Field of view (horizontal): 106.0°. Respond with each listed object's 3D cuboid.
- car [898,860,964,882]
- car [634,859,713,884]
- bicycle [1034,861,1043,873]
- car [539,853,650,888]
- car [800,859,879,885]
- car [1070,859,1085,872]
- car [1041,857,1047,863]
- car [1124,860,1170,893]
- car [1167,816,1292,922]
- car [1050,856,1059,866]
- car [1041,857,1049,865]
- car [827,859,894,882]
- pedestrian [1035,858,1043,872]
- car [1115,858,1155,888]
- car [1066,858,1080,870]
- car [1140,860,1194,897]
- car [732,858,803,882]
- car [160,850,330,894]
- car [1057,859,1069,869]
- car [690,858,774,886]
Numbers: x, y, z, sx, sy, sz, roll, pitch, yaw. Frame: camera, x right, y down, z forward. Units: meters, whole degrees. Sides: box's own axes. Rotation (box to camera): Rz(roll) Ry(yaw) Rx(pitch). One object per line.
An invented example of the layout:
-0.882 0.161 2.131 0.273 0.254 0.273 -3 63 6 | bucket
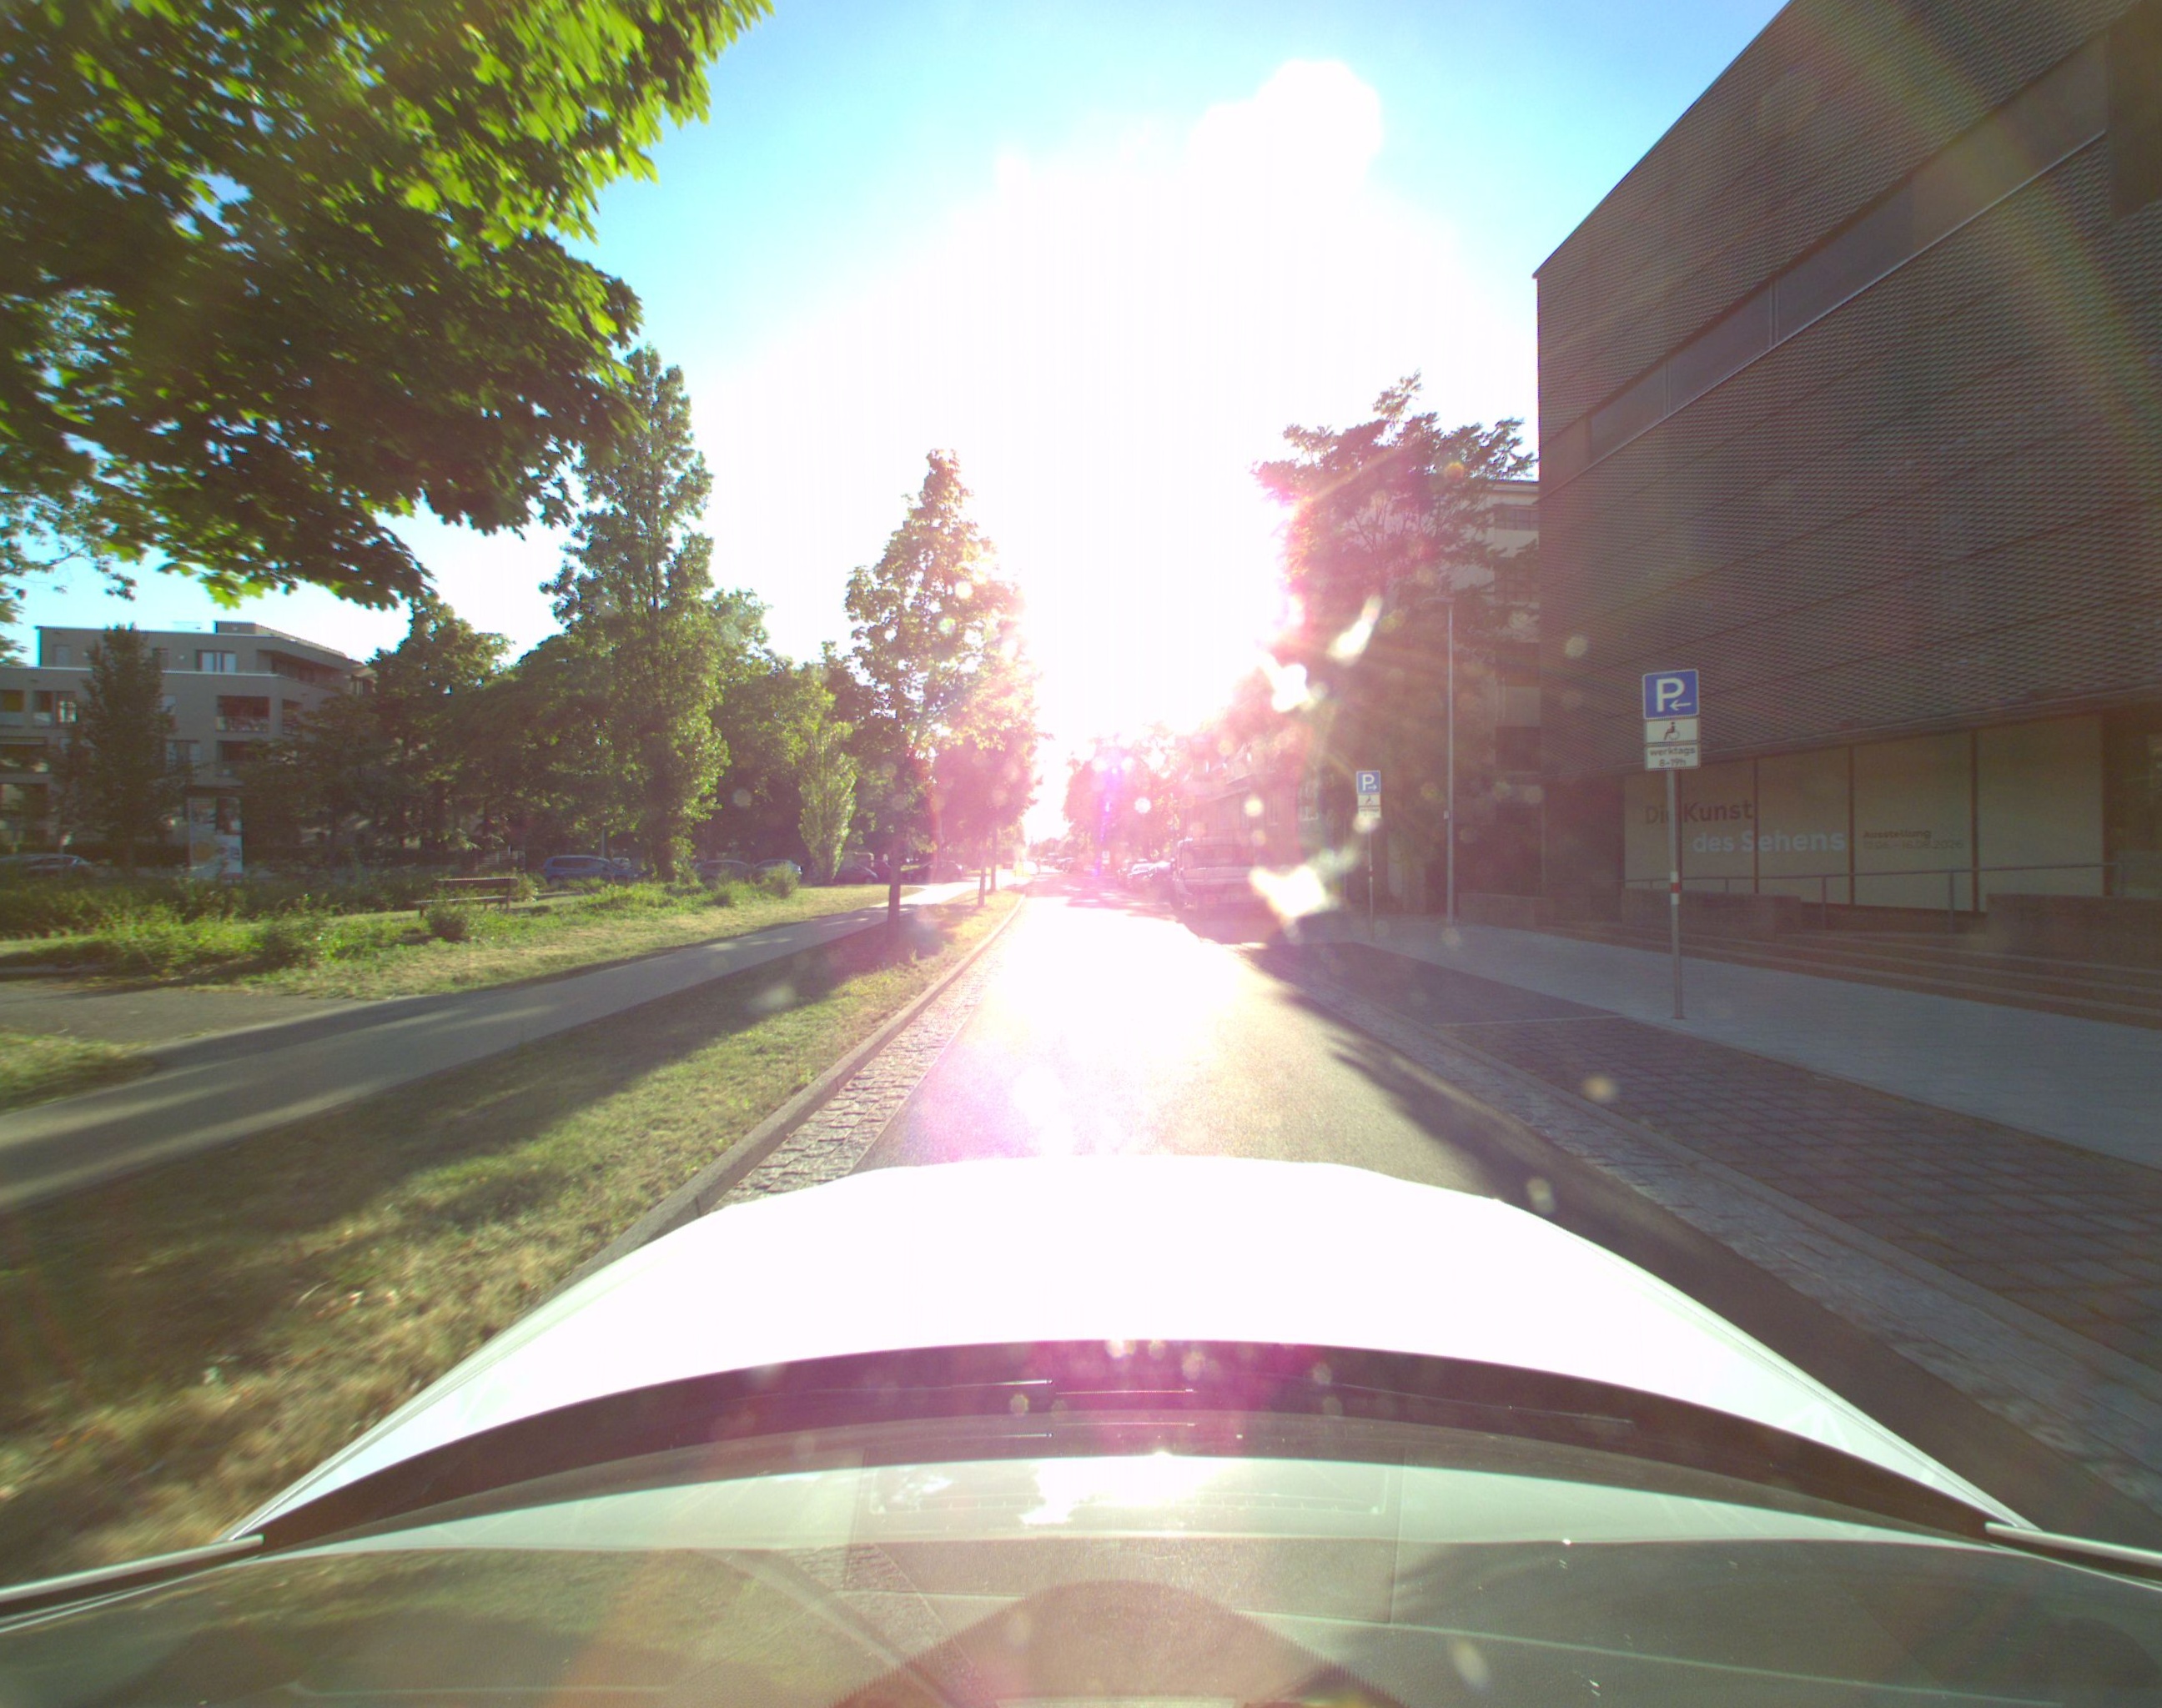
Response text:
-9.972 1.098 54.266 4.011 1.420 1.755 1 0 -29 | car
-23.760 1.027 47.654 4.005 1.420 1.758 0 0 -24 | car
-4.162 1.291 80.147 0.686 1.202 2.343 0 0 1 | bicycle
-24.352 0.831 40.922 4.549 1.686 1.758 0 0 -23 | car
-13.645 0.990 45.975 4.010 1.420 1.755 0 0 -28 | car
-0.395 1.346 98.291 1.787 1.510 4.001 0 0 1 | car
-11.654 1.979 257.837 1.989 1.970 3.996 1 0 -2 | car
3.177 1.058 39.822 1.687 1.440 4.099 -1 0 -3 | car
3.973 0.370 23.048 2.205 2.530 6.143 -2 0 -2 | car
-5.307 1.315 164.523 1.789 1.999 3.997 0 0 -2 | car
-9.025 1.782 205.965 1.989 1.970 3.996 1 0 -2 | car
-14.151 1.049 52.346 3.932 1.420 1.757 0 0 -26 | car
-4.151 1.070 80.054 0.686 1.434 1.025 0 0 1 | pedestrian
2.953 1.034 45.290 1.687 1.565 4.099 -1 0 -3 | car
-1.096 1.362 112.271 1.789 1.724 3.997 0 0 -2 | car
3.572 0.979 34.262 1.687 1.440 3.546 -1 0 -3 | car
-19.190 0.983 49.847 4.005 1.420 1.758 0 0 -24 | car
-23.751 0.489 23.295 1.521 1.160 3.101 0 0 5 | car
-2.799 1.583 126.955 1.789 1.510 3.997 0 0 -2 | car
-18.640 0.957 43.515 4.008 1.420 1.756 0 0 -27 | car
